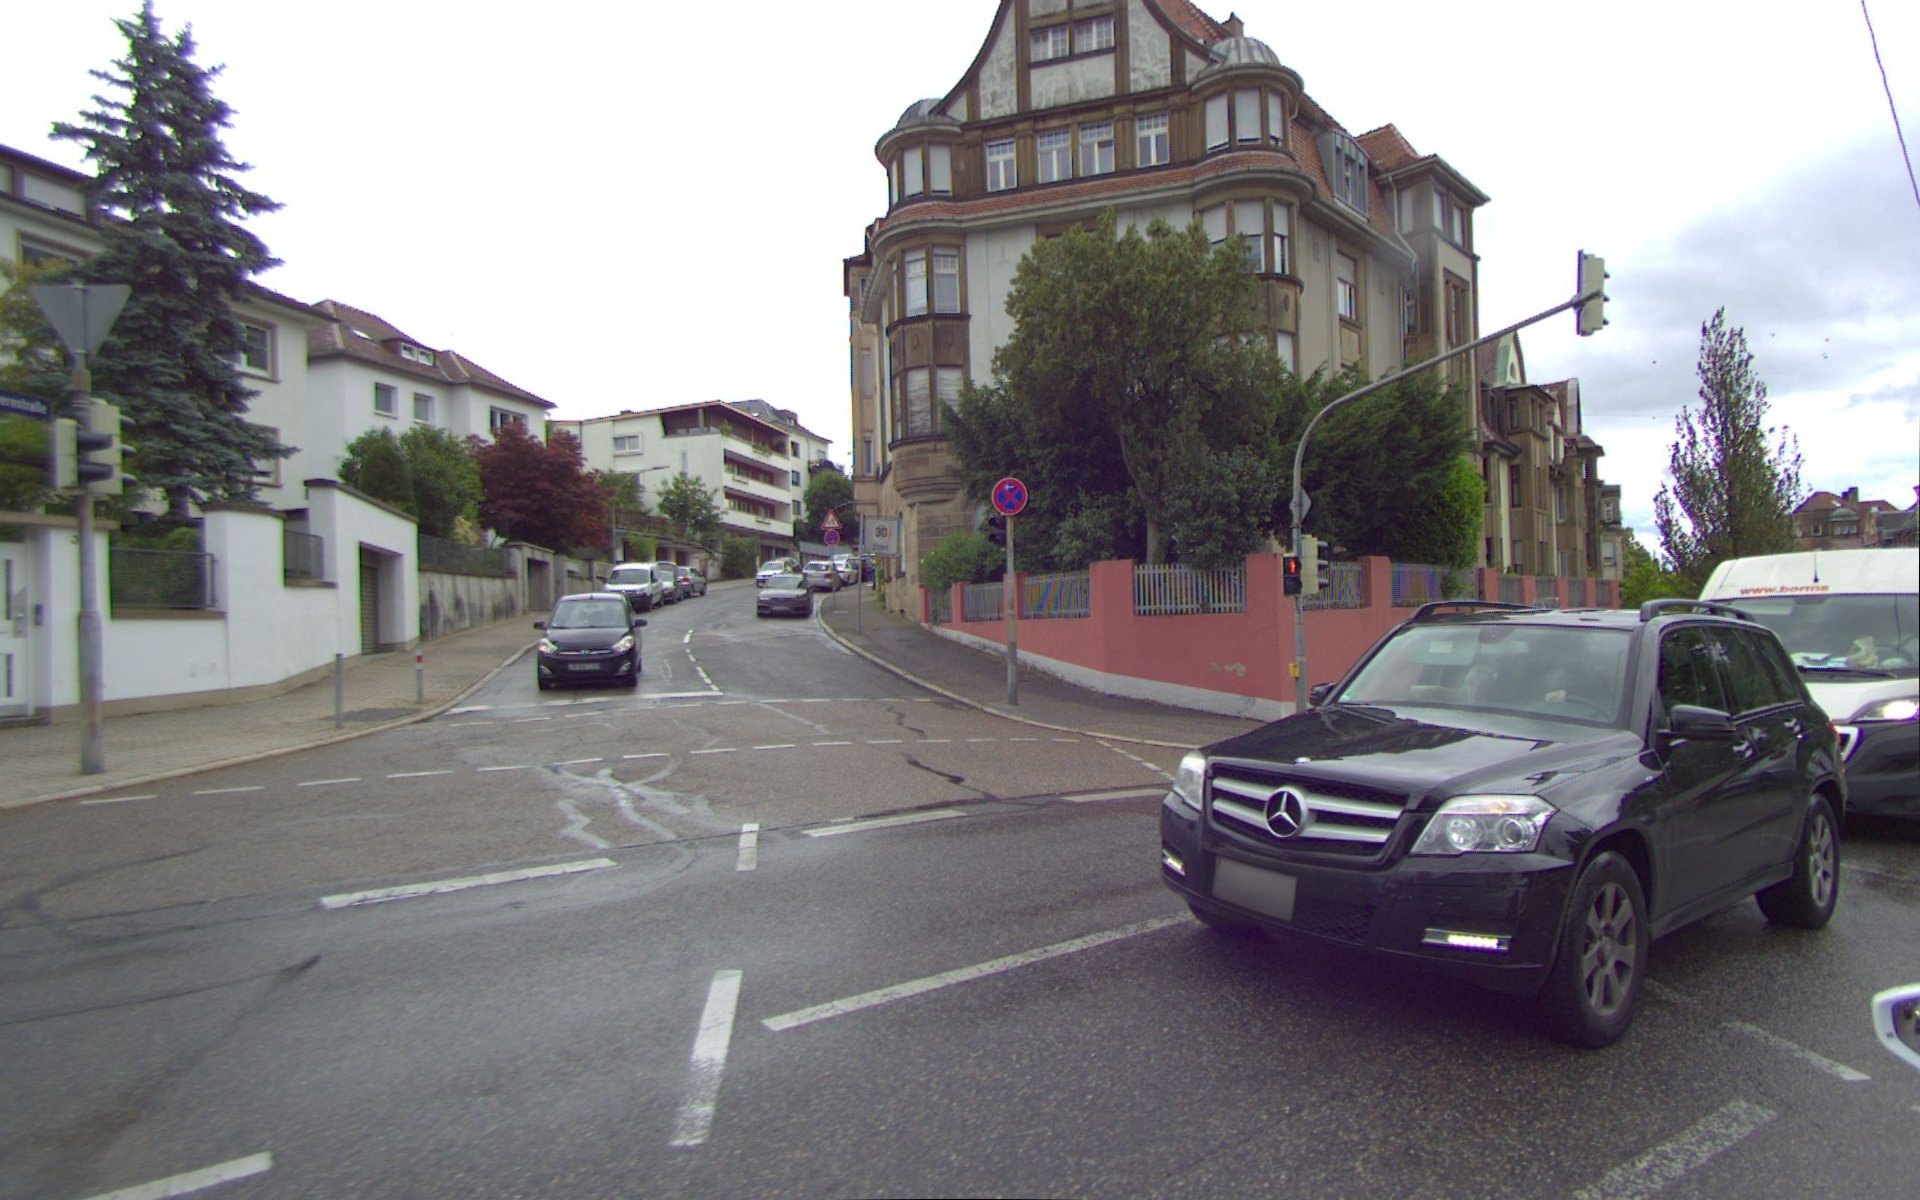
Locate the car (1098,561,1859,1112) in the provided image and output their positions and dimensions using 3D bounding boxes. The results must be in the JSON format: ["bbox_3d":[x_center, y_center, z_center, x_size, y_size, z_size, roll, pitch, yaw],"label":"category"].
[{"bbox_3d":[2.872,0.802,5.113,4.307,1.674,1.808,2,-2,-38],"label":"car"}]

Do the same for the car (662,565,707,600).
[{"bbox_3d":[-13.577,-0.890,49.654,1.479,1.473,3.515,1,5,-4],"label":"car"}]

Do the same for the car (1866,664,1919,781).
[{"bbox_3d":[13.725,1.634,13.594,3.972,1.448,1.798,5,-5,-43],"label":"car"}]

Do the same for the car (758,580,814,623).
[{"bbox_3d":[-6.299,0.033,36.673,1.674,1.473,3.515,1,1,-5],"label":"car"}]

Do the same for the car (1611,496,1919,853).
[{"bbox_3d":[8.520,0.716,9.690,5.492,2.578,2.101,4,-4,-38],"label":"car"}]

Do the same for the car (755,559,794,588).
[{"bbox_3d":[-10.748,-1.566,58.336,1.477,1.473,3.518,2,4,3],"label":"car"}]

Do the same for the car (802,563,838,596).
[{"bbox_3d":[-7.467,-1.127,53.818,1.607,1.473,3.515,2,5,-4],"label":"car"}]

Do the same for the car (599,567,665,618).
[{"bbox_3d":[-12.853,-0.345,39.586,1.801,1.856,3.966,0,3,-9],"label":"car"}]

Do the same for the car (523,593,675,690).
[{"bbox_3d":[-6.309,0.658,17.924,1.639,1.458,3.363,-2,1,-4],"label":"car"}]

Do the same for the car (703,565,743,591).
[{"bbox_3d":[-14.574,-1.366,61.915,1.477,1.473,3.518,2,3,2],"label":"car"}]

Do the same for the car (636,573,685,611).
[{"bbox_3d":[-13.192,-0.380,44.359,1.480,1.473,3.513,1,3,-7],"label":"car"}]
